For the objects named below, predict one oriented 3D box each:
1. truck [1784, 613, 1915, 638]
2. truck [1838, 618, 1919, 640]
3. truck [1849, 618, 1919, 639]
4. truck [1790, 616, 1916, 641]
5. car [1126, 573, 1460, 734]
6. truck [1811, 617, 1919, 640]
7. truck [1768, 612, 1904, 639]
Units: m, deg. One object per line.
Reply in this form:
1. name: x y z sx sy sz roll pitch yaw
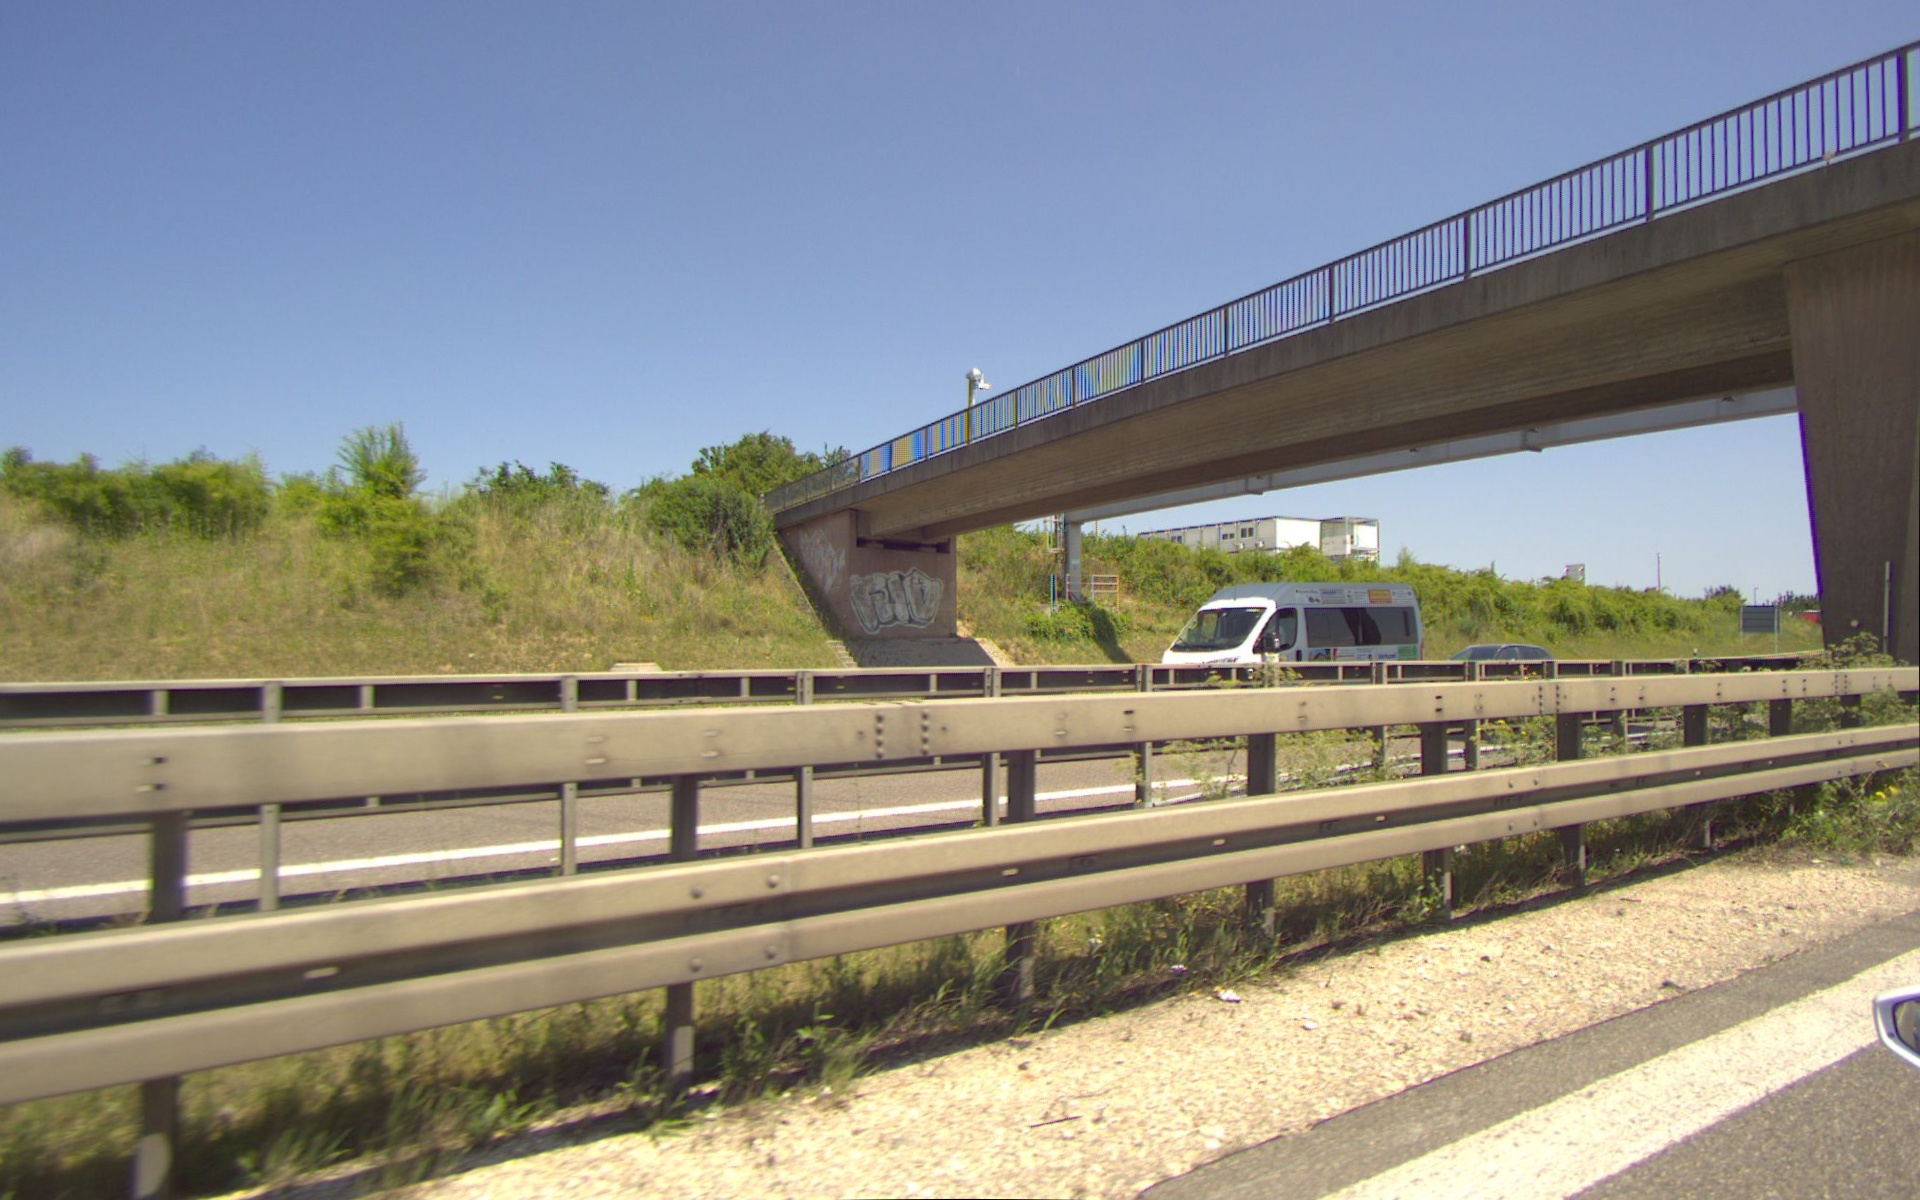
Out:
1. truck: 127.087 3.640 143.783 14.167 3.181 2.662 1 0 17
2. truck: 149.242 4.702 159.985 14.167 3.181 2.662 1 0 17
3. truck: 153.161 4.698 162.507 14.167 3.181 2.662 1 0 17
4. truck: 133.133 4.185 149.915 14.167 3.181 2.662 1 0 17
5. car: 6.179 0.906 18.336 6.256 2.543 2.189 2 0 -31
6. truck: 140.821 4.353 155.369 14.167 3.181 2.662 1 0 17
7. truck: 120.664 3.456 138.594 14.167 3.181 2.662 1 0 17
